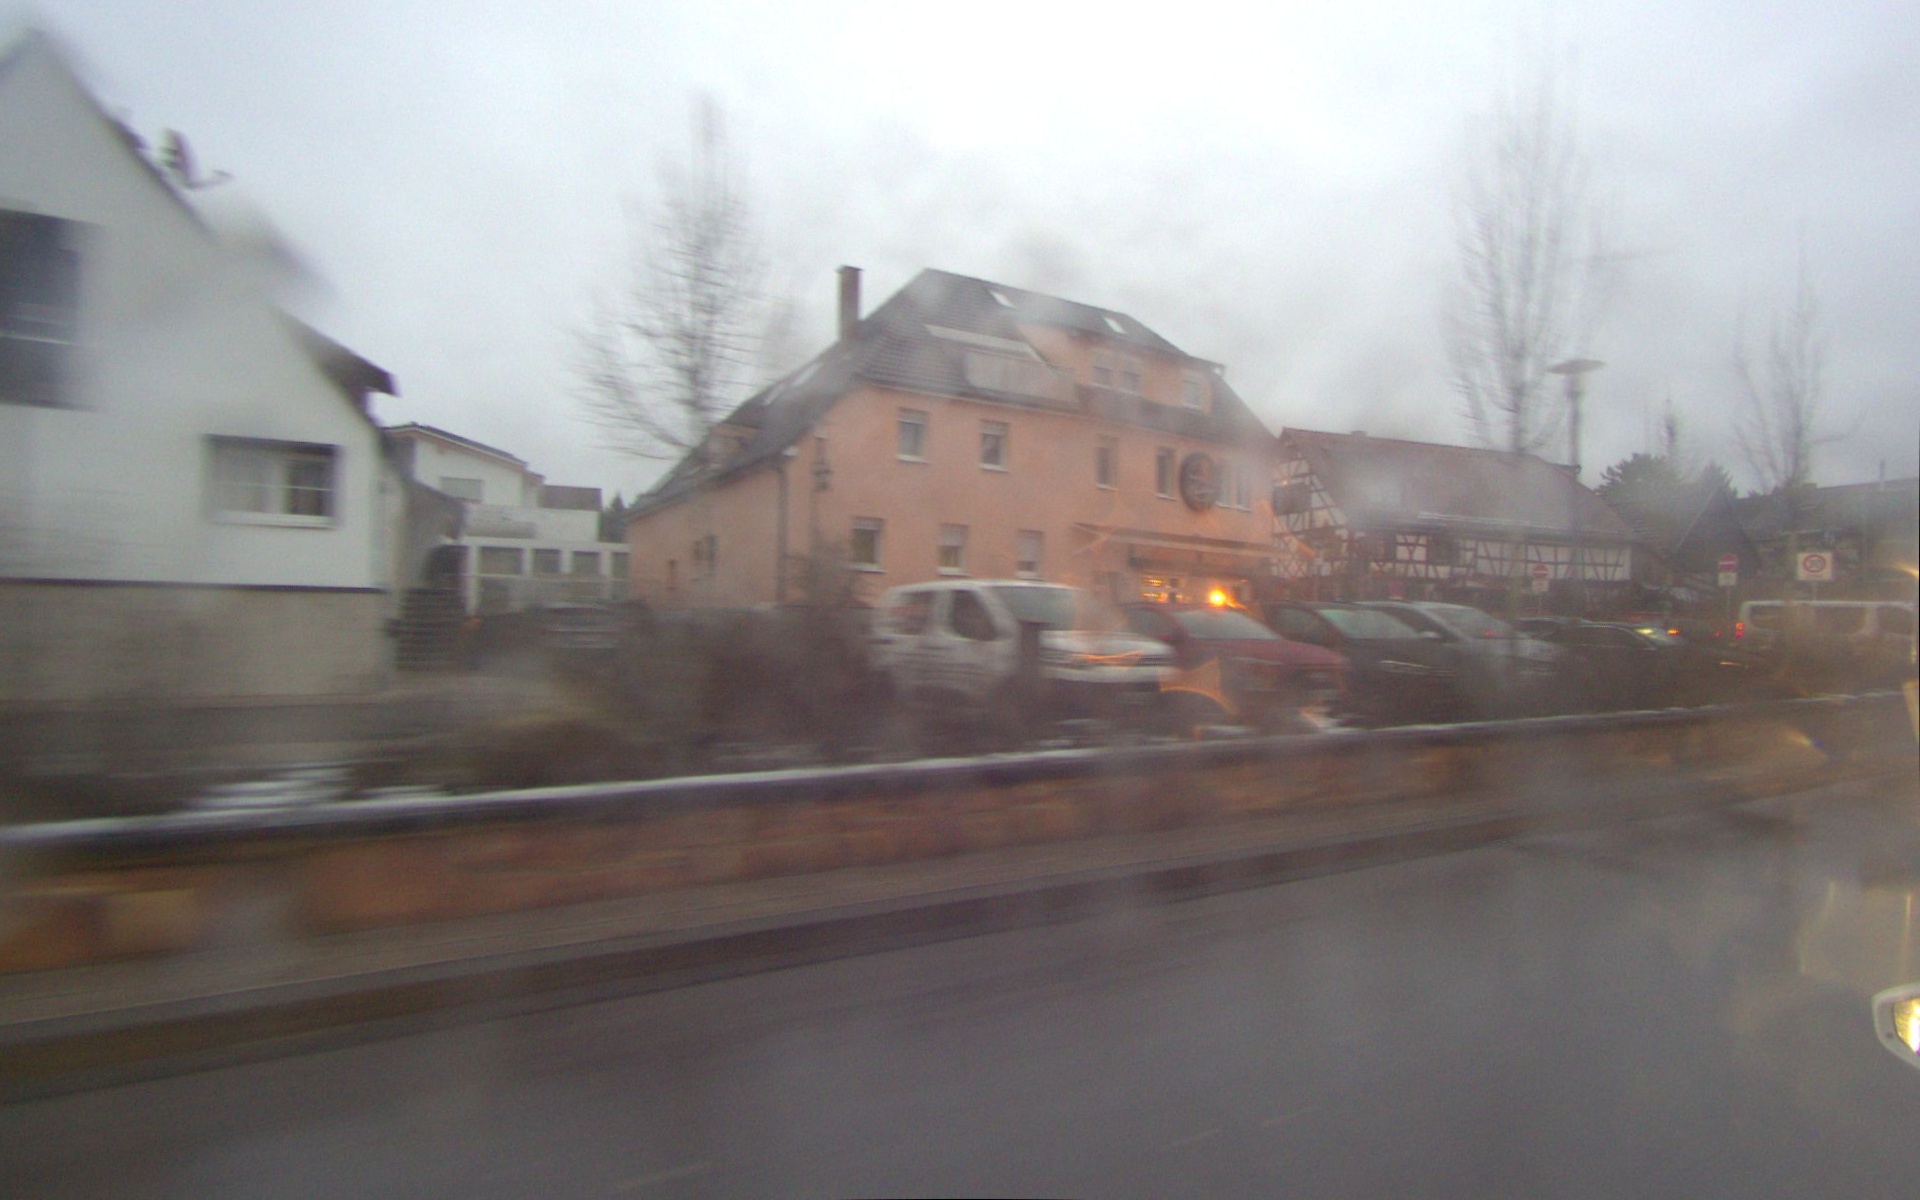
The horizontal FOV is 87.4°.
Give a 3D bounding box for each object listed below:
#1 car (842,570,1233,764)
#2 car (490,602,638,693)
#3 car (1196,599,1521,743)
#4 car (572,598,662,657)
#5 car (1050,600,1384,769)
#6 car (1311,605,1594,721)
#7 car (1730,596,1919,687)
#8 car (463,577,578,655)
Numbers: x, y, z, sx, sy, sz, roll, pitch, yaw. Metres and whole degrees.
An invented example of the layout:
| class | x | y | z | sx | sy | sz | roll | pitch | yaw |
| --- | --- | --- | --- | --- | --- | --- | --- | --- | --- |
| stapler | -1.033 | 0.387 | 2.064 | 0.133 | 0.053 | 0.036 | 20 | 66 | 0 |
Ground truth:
| class | x | y | z | sx | sy | sz | roll | pitch | yaw |
| --- | --- | --- | --- | --- | --- | --- | --- | --- | --- |
| car | 0.596 | 0.591 | 11.243 | 1.979 | 1.689 | 4.598 | 2 | 0 | -33 |
| car | -8.124 | 0.912 | 20.398 | 1.979 | 1.518 | 4.060 | 4 | -1 | -33 |
| car | 5.278 | 0.848 | 13.911 | 1.637 | 1.666 | 4.153 | 2 | -1 | -26 |
| car | -10.450 | 0.804 | 30.412 | 1.975 | 1.518 | 4.069 | 4 | -1 | -27 |
| car | 2.922 | 0.873 | 12.390 | 1.658 | 1.674 | 4.183 | 2 | 0 | -26 |
| car | 7.303 | 0.869 | 15.239 | 1.687 | 1.466 | 3.532 | 2 | 0 | -26 |
| car | 20.798 | 0.921 | 22.676 | 1.684 | 1.842 | 5.393 | 2 | 1 | -17 |
| car | -10.679 | 0.376 | 24.320 | 1.587 | 1.680 | 3.060 | 4 | -1 | -42 |
